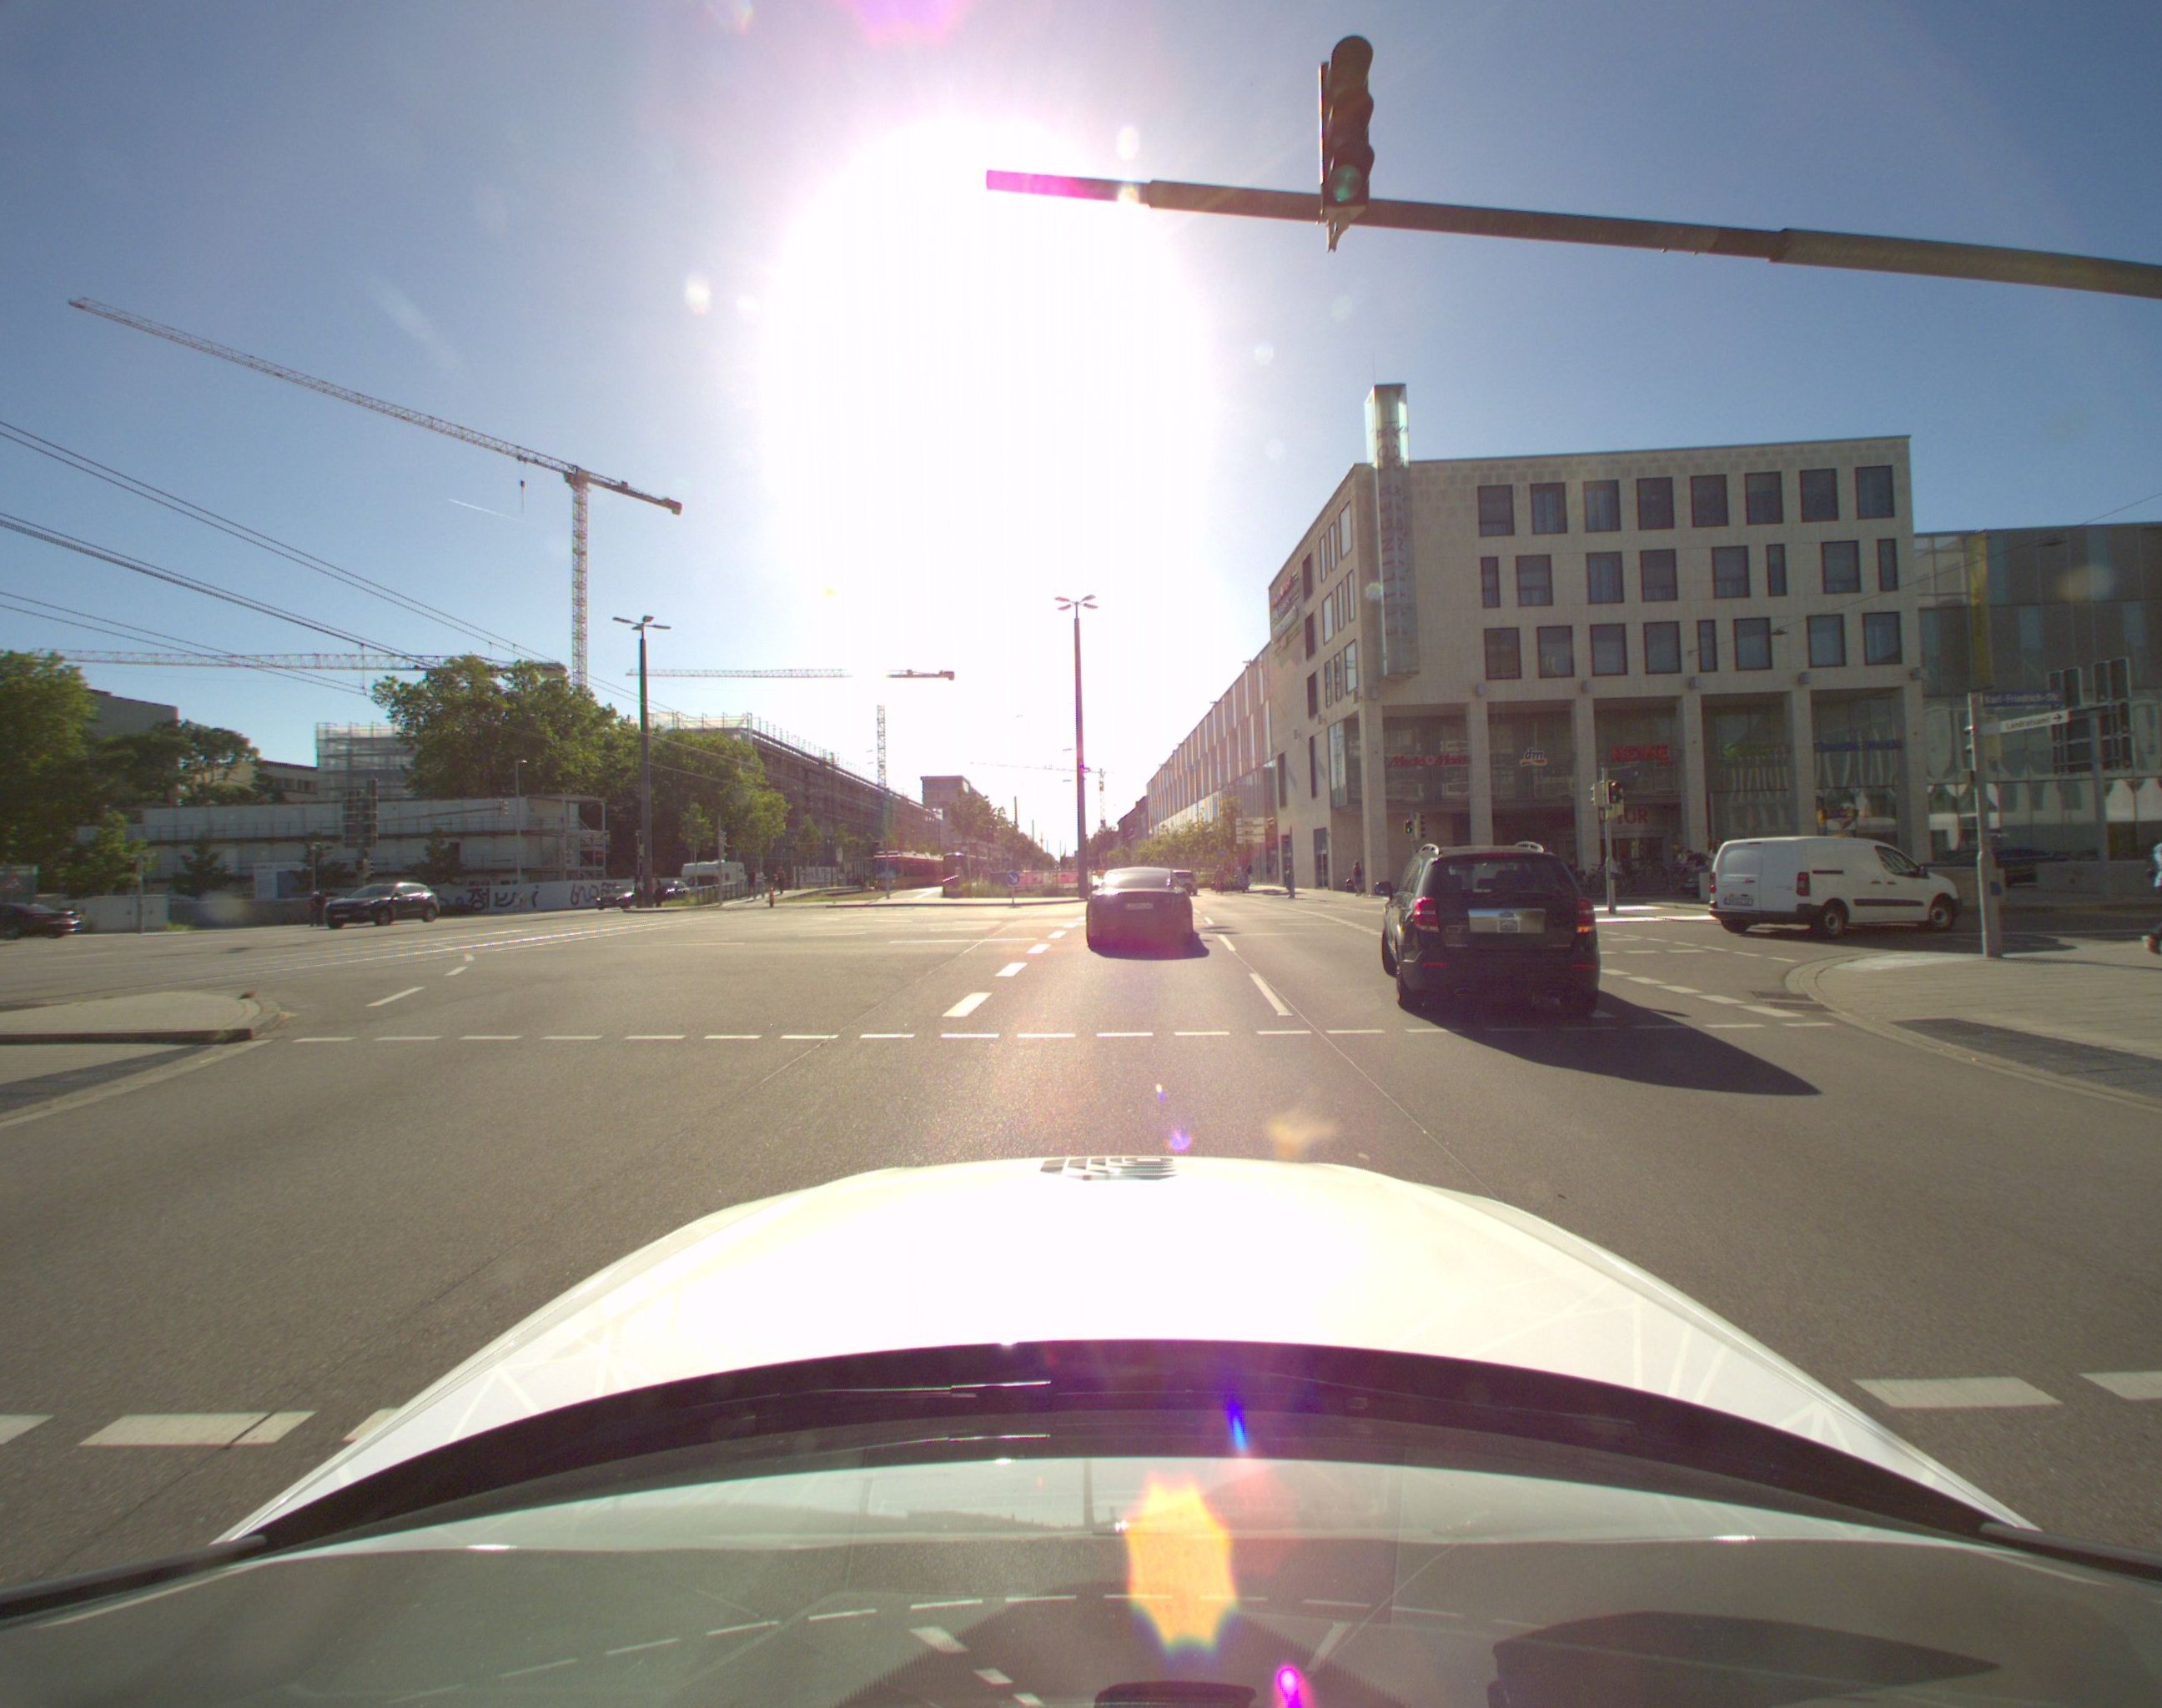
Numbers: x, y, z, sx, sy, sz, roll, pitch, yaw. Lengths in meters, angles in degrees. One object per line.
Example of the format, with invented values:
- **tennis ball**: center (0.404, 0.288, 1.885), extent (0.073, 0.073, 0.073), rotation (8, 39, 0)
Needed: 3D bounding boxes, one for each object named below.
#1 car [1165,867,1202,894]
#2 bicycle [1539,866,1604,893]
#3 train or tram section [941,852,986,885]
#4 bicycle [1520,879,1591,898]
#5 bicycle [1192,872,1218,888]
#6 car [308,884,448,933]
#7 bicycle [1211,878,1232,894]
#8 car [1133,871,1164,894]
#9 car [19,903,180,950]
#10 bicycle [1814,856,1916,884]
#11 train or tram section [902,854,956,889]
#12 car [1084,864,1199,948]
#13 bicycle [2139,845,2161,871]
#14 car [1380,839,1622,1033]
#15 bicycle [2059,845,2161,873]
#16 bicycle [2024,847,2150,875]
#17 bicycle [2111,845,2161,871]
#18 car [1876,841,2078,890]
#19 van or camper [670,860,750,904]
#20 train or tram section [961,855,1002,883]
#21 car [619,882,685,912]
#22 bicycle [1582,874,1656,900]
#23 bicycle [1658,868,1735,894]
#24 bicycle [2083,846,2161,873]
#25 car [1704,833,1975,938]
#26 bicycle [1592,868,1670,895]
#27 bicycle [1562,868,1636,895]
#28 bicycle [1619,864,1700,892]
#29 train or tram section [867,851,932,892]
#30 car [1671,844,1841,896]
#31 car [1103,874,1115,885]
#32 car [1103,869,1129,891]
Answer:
- **car**: center (6.205, 1.581, 49.584), extent (1.778, 1.546, 4.038), rotation (-1, -1, 1)
- **bicycle**: center (21.265, 1.105, 35.429), extent (1.062, 1.094, 2.992), rotation (-1, -1, 2)
- **train or tram section**: center (-12.645, 1.635, 89.017), extent (2.862, 3.280, 15.178), rotation (0, -1, 0)
- **bicycle**: center (18.669, 1.352, 32.095), extent (2.184, 0.671, 1.073), rotation (-2, -1, 3)
- **bicycle**: center (10.475, 2.212, 68.745), extent (2.075, 1.205, 0.952), rotation (-3, -2, 5)
- **car**: center (-27.861, 2.100, 32.520), extent (1.991, 1.707, 4.549), rotation (-1, -1, -6)
- **bicycle**: center (8.683, 1.961, 50.515), extent (0.727, 0.984, 2.329), rotation (1, -2, -4)
- **car**: center (4.405, 1.866, 53.656), extent (1.711, 1.432, 3.999), rotation (-1, -1, 0)
- **car**: center (-38.898, 2.845, 32.356), extent (3.972, 1.601, 2.000), rotation (-2, -1, 1)
- **bicycle**: center (33.427, 0.697, 34.817), extent (1.062, 1.094, 3.499), rotation (-1, -1, 2)
- **train or tram section**: center (-15.814, 1.884, 86.134), extent (2.839, 3.322, 15.958), rotation (0, -1, 0)
- **car**: center (1.095, 0.949, 16.426), extent (1.992, 1.434, 4.412), rotation (-1, -1, 1)
- **bicycle**: center (47.396, 0.143, 34.332), extent (1.062, 1.094, 3.499), rotation (-1, -1, 2)
- **car**: center (4.564, 0.763, 9.538), extent (1.770, 1.699, 4.432), rotation (-2, -1, 18)
- **bicycle**: center (43.837, 0.220, 34.330), extent (1.062, 1.094, 3.499), rotation (-1, -1, 2)
- **bicycle**: center (42.482, 0.327, 34.508), extent (1.062, 1.094, 3.499), rotation (-1, -1, 2)
- **bicycle**: center (46.235, 0.154, 34.406), extent (1.062, 1.094, 3.499), rotation (-1, -1, 2)
- **car**: center (29.965, 0.419, 27.355), extent (4.587, 1.421, 1.861), rotation (-2, -3, 1)
- **van or camper**: center (-26.939, 2.003, 59.549), extent (2.598, 2.937, 7.336), rotation (-2, -1, -2)
- **train or tram section**: center (-12.816, 2.071, 107.659), extent (2.862, 3.280, 22.132), rotation (0, -1, 0)
- **car**: center (-26.934, 2.659, 51.291), extent (1.940, 1.707, 4.363), rotation (-1, -1, -2)
- **bicycle**: center (21.174, 1.280, 32.110), extent (2.184, 0.943, 1.073), rotation (-2, -1, 3)
- **bicycle**: center (24.184, 1.057, 32.048), extent (2.184, 0.932, 1.031), rotation (-2, -1, 3)
- **bicycle**: center (45.017, 0.233, 34.414), extent (1.062, 1.094, 3.499), rotation (-1, -1, 2)
- **car**: center (14.046, 0.533, 15.126), extent (4.158, 1.734, 1.780), rotation (-1, -1, -16)
- **bicycle**: center (23.588, 1.161, 35.068), extent (1.062, 1.094, 3.498), rotation (-1, -1, 2)
- **bicycle**: center (22.435, 1.178, 35.417), extent (1.062, 1.094, 3.498), rotation (-1, -1, 2)
- **bicycle**: center (24.758, 1.020, 34.965), extent (1.062, 1.094, 3.498), rotation (-1, -1, 2)
- **train or tram section**: center (-15.712, 1.529, 71.645), extent (2.862, 3.310, 13.066), rotation (0, -1, -1)
- **car**: center (23.126, 0.589, 28.028), extent (4.169, 1.613, 1.861), rotation (-2, -3, 1)
- **car**: center (4.337, 3.973, 126.424), extent (1.881, 1.596, 4.002), rotation (-2, -1, 2)
- **car**: center (2.711, 1.970, 62.909), extent (1.881, 1.596, 4.002), rotation (-2, -1, 2)
